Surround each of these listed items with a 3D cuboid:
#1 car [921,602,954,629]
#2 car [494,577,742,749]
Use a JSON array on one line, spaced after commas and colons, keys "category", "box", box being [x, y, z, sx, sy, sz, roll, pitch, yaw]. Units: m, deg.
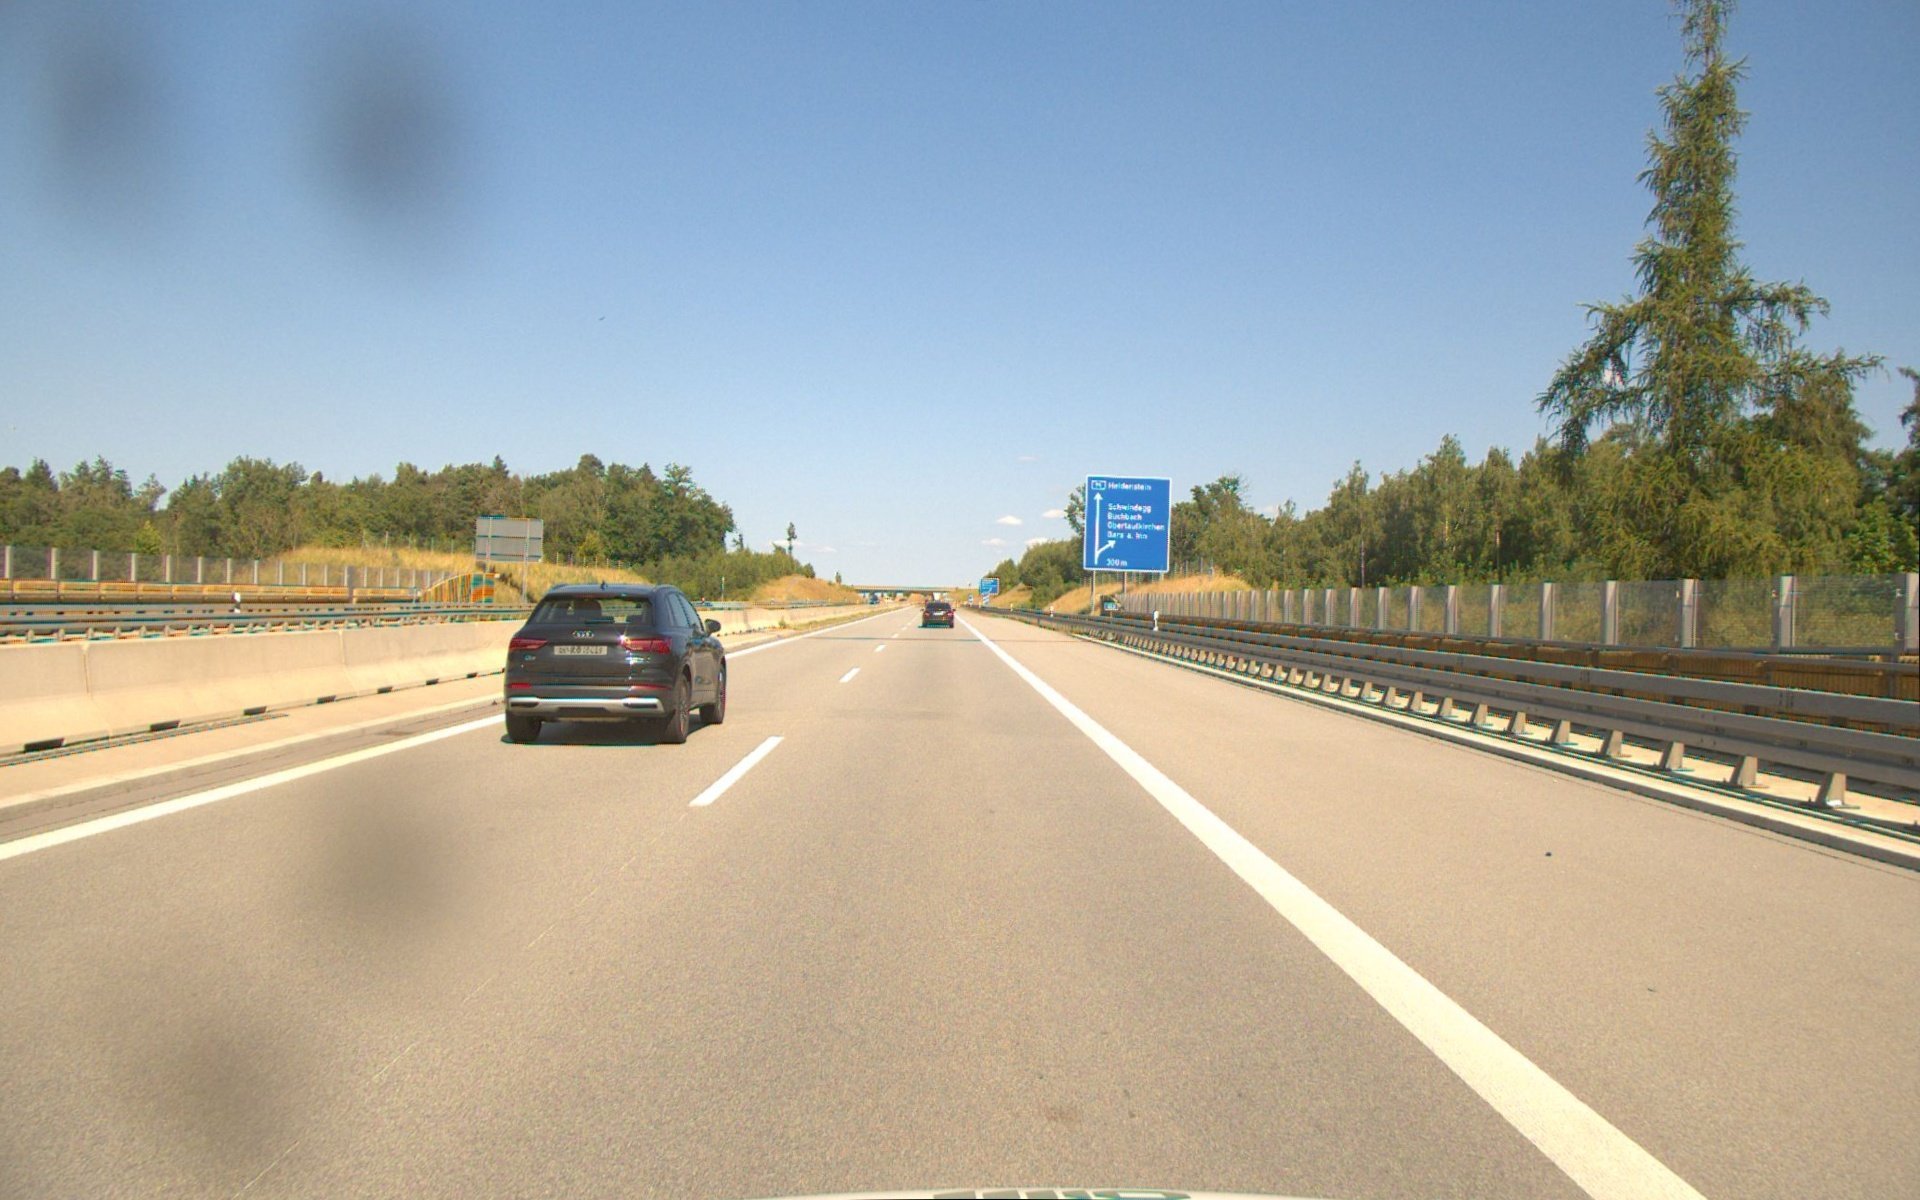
[{"category": "car", "box": [-1.220, 0.840, 90.805, 1.753, 1.398, 3.916, 1, 0, -1]}, {"category": "car", "box": [-3.607, 0.602, 18.391, 1.687, 1.615, 5.221, 1, 0, 0]}]
